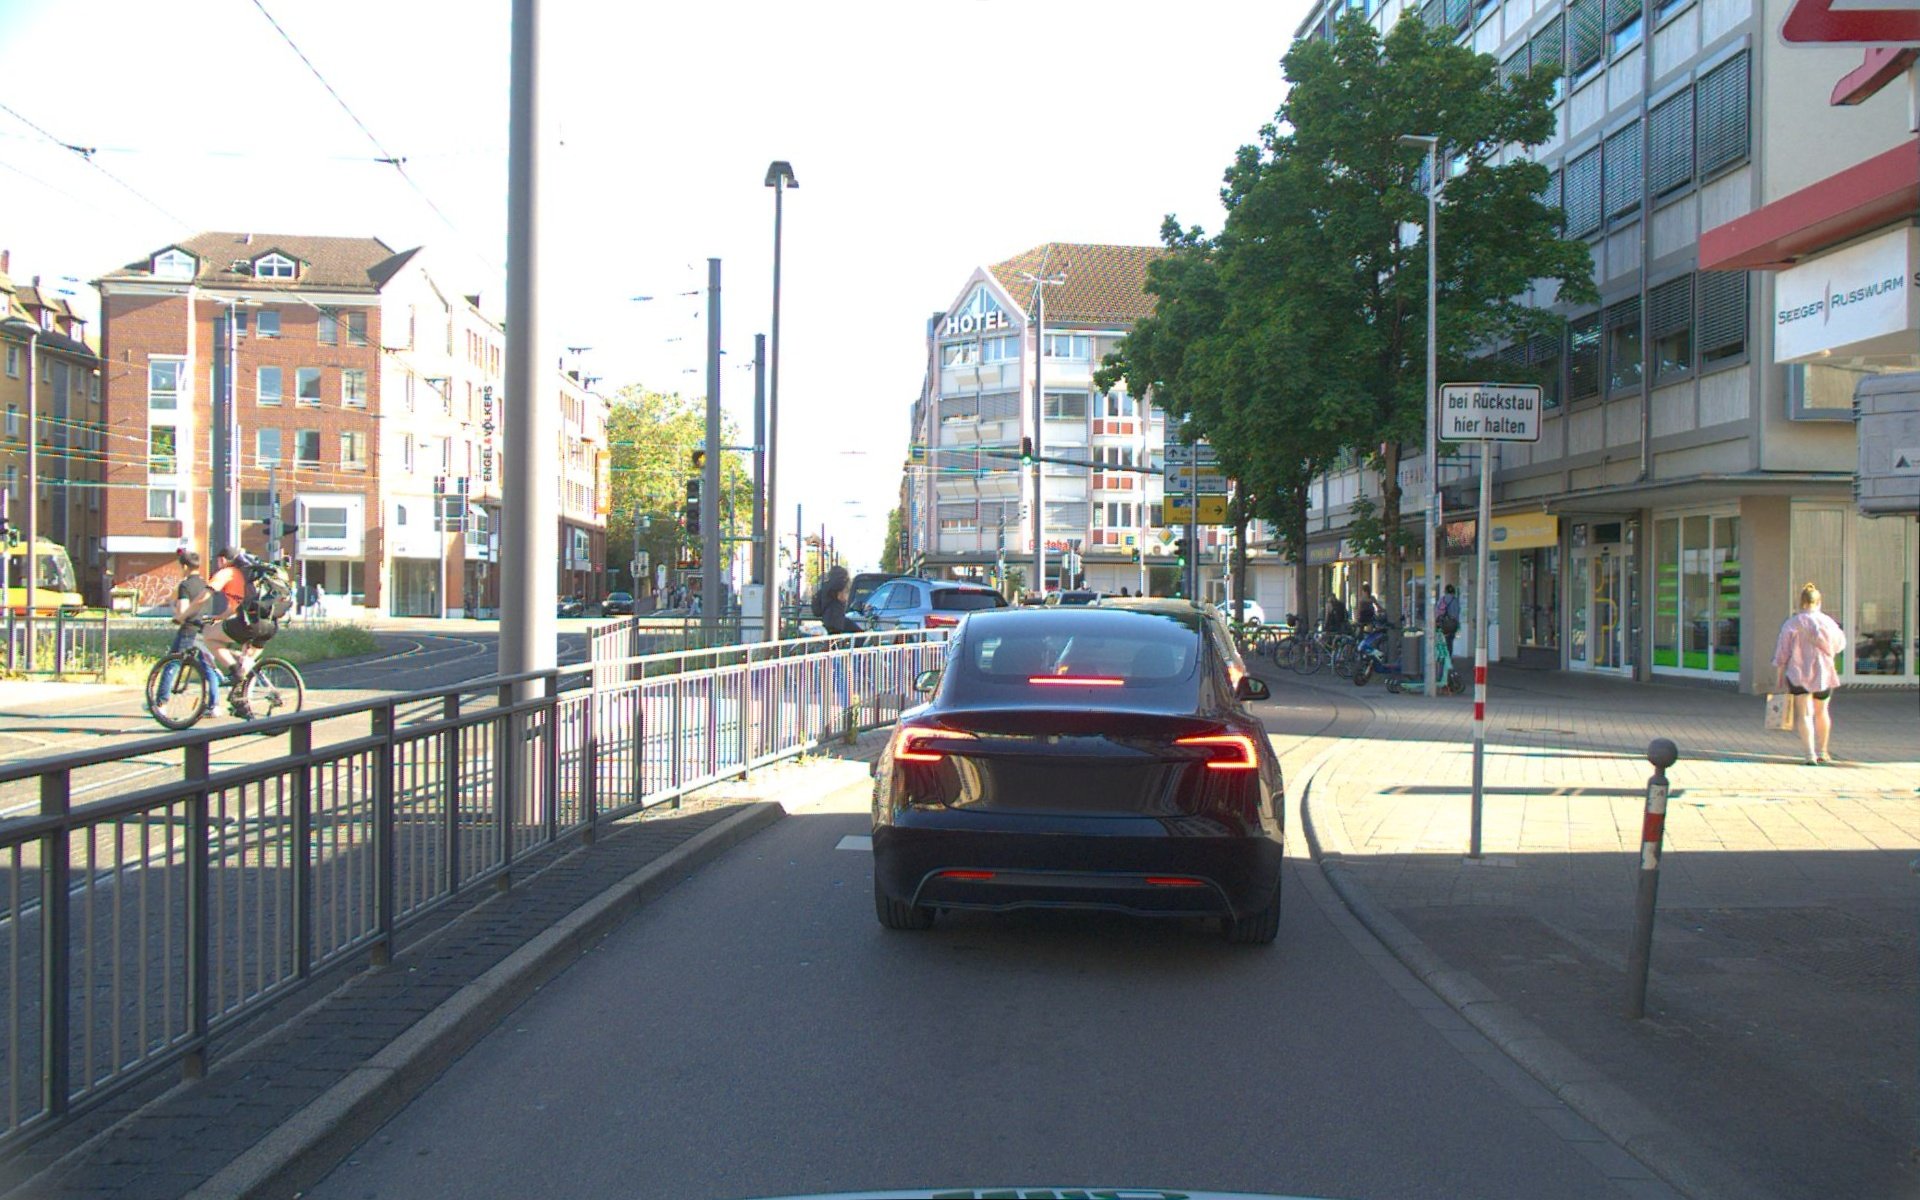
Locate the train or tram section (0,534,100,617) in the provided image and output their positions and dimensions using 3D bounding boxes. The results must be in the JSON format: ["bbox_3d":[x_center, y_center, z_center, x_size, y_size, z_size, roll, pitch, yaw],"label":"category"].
[{"bbox_3d":[-40.179,-1.008,64.792,11.038,3.185,2.795,1,0,-14],"label":"train or tram section"}]

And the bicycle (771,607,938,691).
[{"bbox_3d":[-1.404,0.653,22.391,2.313,1.072,0.622,1,-1,-39],"label":"bicycle"}]

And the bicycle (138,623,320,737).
[{"bbox_3d":[-6.839,0.740,15.486,1.563,1.011,0.404,1,-1,8],"label":"bicycle"}]

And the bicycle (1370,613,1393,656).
[{"bbox_3d":[10.750,0.869,42.160,0.325,1.052,1.257,1,0,3],"label":"bicycle"}]

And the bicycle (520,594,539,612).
[{"bbox_3d":[-26.756,0.167,102.839,0.518,1.107,2.284,0,0,1],"label":"bicycle"}]

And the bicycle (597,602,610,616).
[{"bbox_3d":[-28.876,0.754,133.870,0.518,1.107,2.225,1,0,1],"label":"bicycle"}]

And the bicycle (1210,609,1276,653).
[{"bbox_3d":[7.287,0.798,42.579,1.616,1.118,0.350,1,-1,1],"label":"bicycle"}]

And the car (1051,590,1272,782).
[{"bbox_3d":[1.778,0.666,15.057,1.714,1.480,4.003,1,0,6],"label":"car"}]

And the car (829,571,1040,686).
[{"bbox_3d":[-0.503,0.423,26.514,1.859,1.691,4.125,1,0,-25],"label":"car"}]

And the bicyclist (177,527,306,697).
[{"bbox_3d":[-6.711,0.109,15.459,1.018,1.548,0.392,1,-1,7],"label":"bicyclist"}]

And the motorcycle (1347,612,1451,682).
[{"bbox_3d":[7.801,0.837,29.414,1.673,1.194,0.541,1,-1,-3],"label":"motorcycle"}]

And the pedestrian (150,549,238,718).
[{"bbox_3d":[-7.965,0.347,17.225,0.579,1.710,0.773,1,-1,-6],"label":"pedestrian"}]

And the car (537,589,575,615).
[{"bbox_3d":[-24.954,0.123,102.348,1.677,1.553,4.031,1,0,-5],"label":"car"}]

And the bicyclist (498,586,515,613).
[{"bbox_3d":[-26.708,-0.040,97.358,0.768,1.590,0.746,1,-1,-2],"label":"bicyclist"}]

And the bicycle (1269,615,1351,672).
[{"bbox_3d":[7.090,0.884,33.495,1.620,1.118,0.349,1,-1,-11],"label":"bicycle"}]

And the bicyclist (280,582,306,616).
[{"bbox_3d":[-29.720,-0.062,73.690,0.689,1.496,0.973,0,0,7],"label":"bicyclist"}]

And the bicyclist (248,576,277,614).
[{"bbox_3d":[-28.372,-0.213,67.295,0.880,1.529,0.696,1,-1,-1],"label":"bicyclist"}]

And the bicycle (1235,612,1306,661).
[{"bbox_3d":[7.393,0.863,39.427,1.616,1.118,0.350,1,-1,1],"label":"bicycle"}]

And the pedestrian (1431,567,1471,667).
[{"bbox_3d":[10.202,0.345,34.355,0.648,2.049,0.579,1,-1,1],"label":"pedestrian"}]

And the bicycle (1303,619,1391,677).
[{"bbox_3d":[7.377,0.911,31.548,1.620,1.079,0.349,1,-1,-11],"label":"bicycle"}]

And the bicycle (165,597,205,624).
[{"bbox_3d":[-28.298,0.382,60.414,0.437,0.988,2.246,1,0,-1],"label":"bicycle"}]

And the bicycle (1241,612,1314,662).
[{"bbox_3d":[7.377,0.862,38.400,1.616,1.118,0.350,1,-1,1],"label":"bicycle"}]

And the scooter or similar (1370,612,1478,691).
[{"bbox_3d":[7.656,0.837,27.293,1.610,1.236,0.644,1,-1,30],"label":"scooter or similar"}]

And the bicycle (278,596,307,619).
[{"bbox_3d":[-29.711,0.327,73.672,0.396,0.998,1.695,1,0,7],"label":"bicycle"}]

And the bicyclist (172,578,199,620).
[{"bbox_3d":[-28.293,-0.036,60.420,0.620,1.529,0.696,1,-1,-1],"label":"bicyclist"}]

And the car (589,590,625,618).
[{"bbox_3d":[-22.489,0.271,105.516,1.663,1.762,3.704,1,0,-3],"label":"car"}]

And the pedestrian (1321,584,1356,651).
[{"bbox_3d":[9.649,0.441,42.181,0.685,1.691,0.777,1,-1,-1],"label":"pedestrian"}]

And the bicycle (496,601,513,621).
[{"bbox_3d":[-26.669,0.636,96.828,0.526,1.107,2.223,1,0,-4],"label":"bicycle"}]

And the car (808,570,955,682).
[{"bbox_3d":[-1.612,0.483,32.464,1.962,2.049,3.981,0,0,-17],"label":"car"}]

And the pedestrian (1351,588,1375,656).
[{"bbox_3d":[10.336,0.559,42.385,0.515,1.740,0.403,1,-1,3],"label":"pedestrian"}]

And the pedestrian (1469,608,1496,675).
[{"bbox_3d":[10.771,0.850,34.090,0.381,1.367,0.513,1,-1,1],"label":"pedestrian"}]

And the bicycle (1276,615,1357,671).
[{"bbox_3d":[7.373,0.886,34.199,1.620,1.118,0.349,1,-1,-11],"label":"bicycle"}]

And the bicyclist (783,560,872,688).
[{"bbox_3d":[-1.772,0.313,22.127,0.753,1.657,0.964,1,-1,-39],"label":"bicyclist"}]

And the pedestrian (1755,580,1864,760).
[{"bbox_3d":[8.305,0.664,16.205,0.871,1.696,0.808,1,-1,23],"label":"pedestrian"}]

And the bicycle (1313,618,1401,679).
[{"bbox_3d":[7.473,0.915,31.128,1.620,1.118,0.349,1,-1,-11],"label":"bicycle"}]

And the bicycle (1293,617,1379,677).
[{"bbox_3d":[7.272,0.907,31.970,1.620,1.118,0.349,1,-1,-11],"label":"bicycle"}]

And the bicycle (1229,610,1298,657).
[{"bbox_3d":[7.422,0.816,40.441,1.616,1.118,0.350,1,-1,1],"label":"bicycle"}]

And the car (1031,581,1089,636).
[{"bbox_3d":[3.377,0.288,56.455,1.685,1.781,3.753,1,0,-1],"label":"car"}]

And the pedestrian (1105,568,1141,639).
[{"bbox_3d":[4.775,0.094,48.444,0.902,2.049,0.972,1,-1,-1],"label":"pedestrian"}]

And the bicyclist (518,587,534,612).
[{"bbox_3d":[-26.830,-0.035,102.237,0.767,1.590,0.746,0,0,1],"label":"bicyclist"}]

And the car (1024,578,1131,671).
[{"bbox_3d":[2.396,0.494,34.558,1.567,1.809,3.976,1,0,-6],"label":"car"}]

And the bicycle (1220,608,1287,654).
[{"bbox_3d":[7.357,0.773,41.486,1.616,1.118,0.350,0,0,1],"label":"bicycle"}]

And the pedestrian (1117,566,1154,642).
[{"bbox_3d":[4.848,0.117,45.729,0.902,2.049,0.972,1,-1,-1],"label":"pedestrian"}]

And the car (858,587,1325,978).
[{"bbox_3d":[0.650,0.713,8.440,1.791,1.481,4.002,1,0,4],"label":"car"}]

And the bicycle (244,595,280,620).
[{"bbox_3d":[-28.391,0.320,67.298,0.513,0.988,2.246,1,0,-1],"label":"bicycle"}]

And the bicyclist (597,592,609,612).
[{"bbox_3d":[-28.871,0.148,133.758,0.767,1.590,0.746,1,-1,1],"label":"bicyclist"}]

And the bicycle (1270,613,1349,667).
[{"bbox_3d":[7.493,0.846,35.450,1.616,1.118,0.350,1,-1,1],"label":"bicycle"}]
